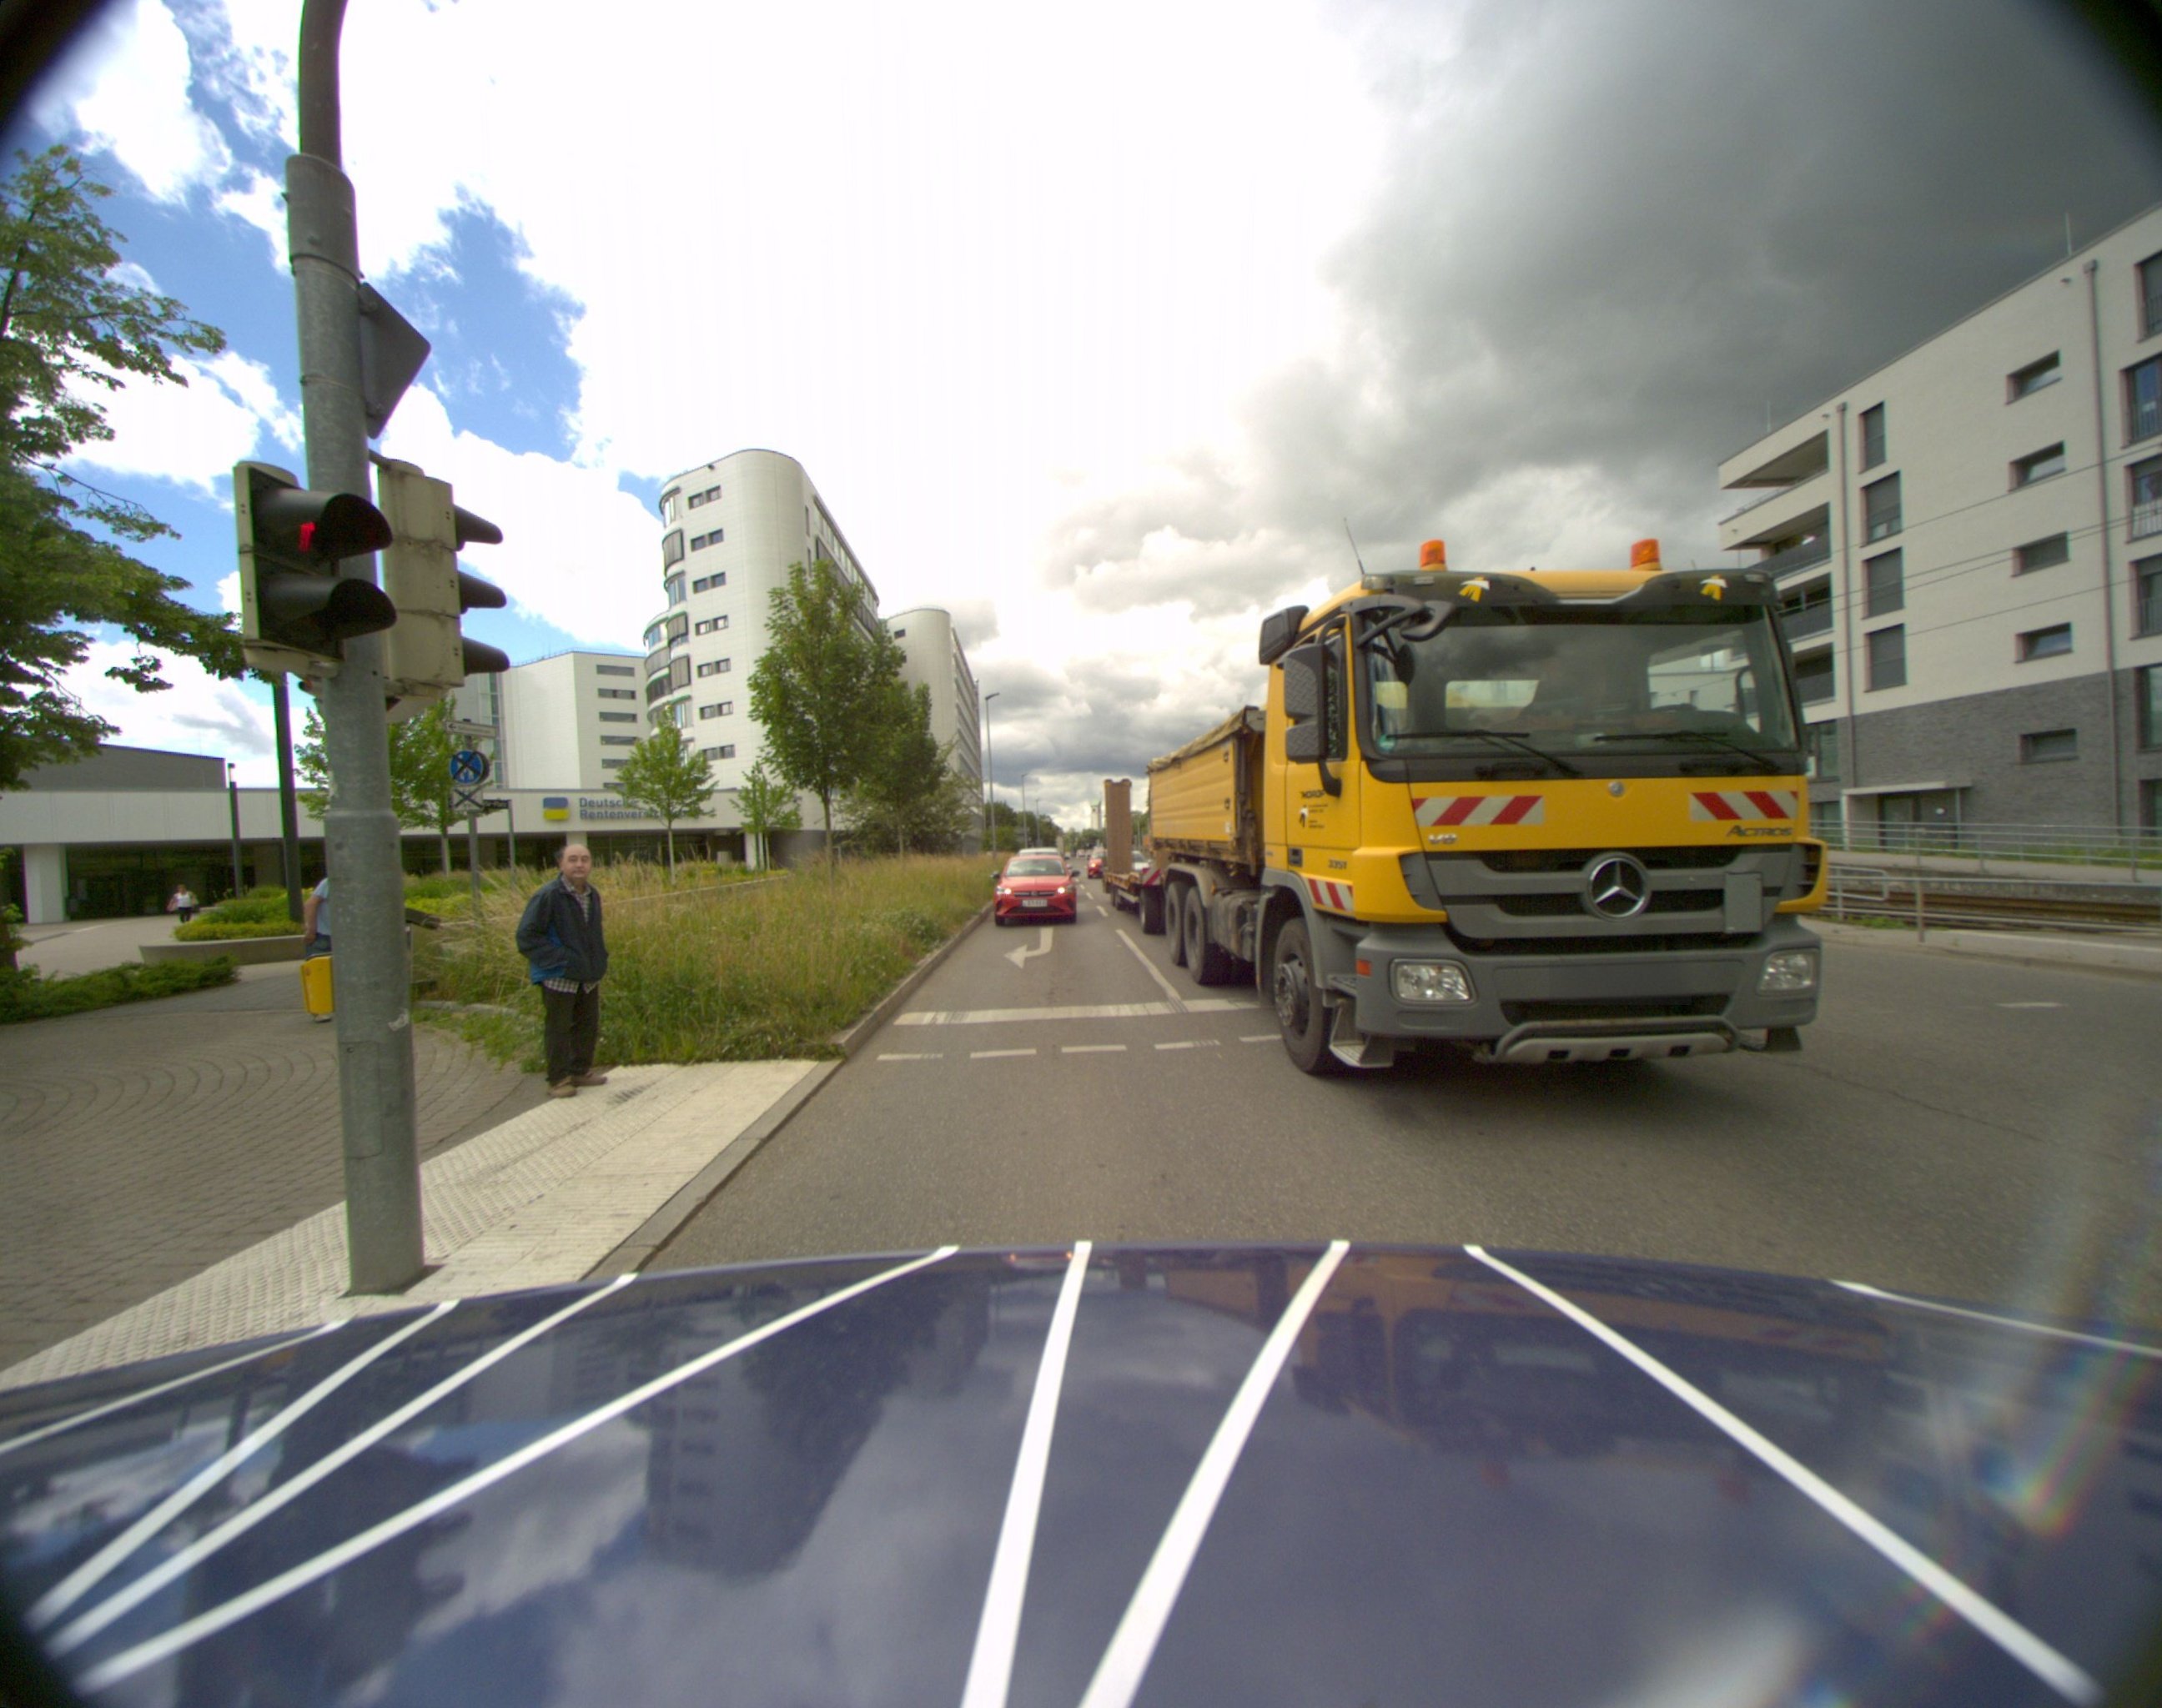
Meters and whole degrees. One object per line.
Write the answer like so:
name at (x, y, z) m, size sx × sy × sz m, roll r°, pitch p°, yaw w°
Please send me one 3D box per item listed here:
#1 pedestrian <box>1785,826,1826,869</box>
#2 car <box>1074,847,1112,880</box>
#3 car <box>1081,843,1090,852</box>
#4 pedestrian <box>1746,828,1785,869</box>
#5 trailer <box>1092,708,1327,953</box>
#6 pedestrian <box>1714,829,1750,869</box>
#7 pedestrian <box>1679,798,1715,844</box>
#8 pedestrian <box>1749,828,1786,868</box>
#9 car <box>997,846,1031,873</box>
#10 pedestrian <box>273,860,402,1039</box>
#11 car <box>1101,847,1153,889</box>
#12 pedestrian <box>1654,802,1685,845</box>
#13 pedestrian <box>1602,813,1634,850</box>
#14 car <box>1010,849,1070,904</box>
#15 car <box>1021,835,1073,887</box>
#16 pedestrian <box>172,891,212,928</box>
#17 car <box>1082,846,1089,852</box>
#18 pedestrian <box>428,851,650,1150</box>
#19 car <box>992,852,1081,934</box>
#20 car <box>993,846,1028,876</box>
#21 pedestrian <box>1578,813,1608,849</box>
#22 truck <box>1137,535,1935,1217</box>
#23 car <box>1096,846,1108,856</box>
pedestrian at (24.509, -0.225, 25.716) m, size 0.715 × 1.401 × 0.670 m, roll -2°, pitch 1°, yaw -2°
car at (0.565, 0.417, 38.839) m, size 1.693 × 1.471 × 3.998 m, roll -2°, pitch 2°, yaw -1°
car at (1.080, -1.483, 180.533) m, size 1.999 × 2.002 × 3.999 m, roll -2°, pitch 1°, yaw -1°
pedestrian at (23.811, -0.198, 26.437) m, size 0.715 × 1.401 × 0.670 m, roll -2°, pitch 1°, yaw -2°
trailer at (1.993, -0.423, 16.634) m, size 2.714 × 3.501 × 10.910 m, roll -2°, pitch 1°, yaw -3°
pedestrian at (23.495, -0.195, 27.423) m, size 0.715 × 1.401 × 0.670 m, roll -2°, pitch 1°, yaw -2°
pedestrian at (23.200, -1.221, 28.626) m, size 0.715 × 1.677 × 0.765 m, roll -2°, pitch 1°, yaw -2°
pedestrian at (24.728, -0.209, 27.359) m, size 0.715 × 1.401 × 0.670 m, roll -2°, pitch 1°, yaw -2°
car at (-4.162, 0.305, 47.878) m, size 1.850 × 1.565 × 4.622 m, roll -2°, pitch 1°, yaw -2°
pedestrian at (-7.992, 0.979, 8.214) m, size 0.694 × 1.781 × 0.727 m, roll -4°, pitch 3°, yaw -26°
car at (1.787, 0.502, 30.438) m, size 1.693 × 1.471 × 3.998 m, roll -2°, pitch 2°, yaw -1°
pedestrian at (27.696, -1.418, 35.778) m, size 0.912 × 2.002 × 0.670 m, roll -2°, pitch 1°, yaw -2°
pedestrian at (20.870, -0.863, 29.540) m, size 0.715 × 1.401 × 0.670 m, roll -2°, pitch 1°, yaw -2°
car at (-1.295, 0.669, 24.364) m, size 1.738 × 1.565 × 3.444 m, roll -2°, pitch 1°, yaw -2°
car at (-1.387, 0.270, 32.272) m, size 1.999 × 2.002 × 3.999 m, roll -2°, pitch 1°, yaw -1°
pedestrian at (-32.895, 2.038, 28.125) m, size 0.703 × 1.266 × 0.887 m, roll -1°, pitch 1°, yaw 42°
car at (1.261, -1.388, 203.392) m, size 1.770 × 1.489 × 3.553 m, roll -2°, pitch 1°, yaw -1°
pedestrian at (-3.512, 0.870, 4.951) m, size 0.954 × 1.730 × 0.729 m, roll -2°, pitch 1°, yaw 26°
car at (-0.916, 0.769, 17.034) m, size 1.693 × 1.471 × 3.998 m, roll -2°, pitch 2°, yaw -1°
car at (-3.936, 0.380, 43.020) m, size 1.738 × 1.565 × 3.444 m, roll -2°, pitch 1°, yaw -2°
pedestrian at (20.434, -0.919, 30.317) m, size 0.715 × 1.401 × 0.670 m, roll -2°, pitch 1°, yaw -2°
truck at (2.415, 0.001, 7.330) m, size 2.727 × 2.986 × 7.774 m, roll -2°, pitch 2°, yaw -3°
car at (3.685, -0.510, 133.376) m, size 1.887 × 1.762 × 4.862 m, roll -2°, pitch 1°, yaw -1°
